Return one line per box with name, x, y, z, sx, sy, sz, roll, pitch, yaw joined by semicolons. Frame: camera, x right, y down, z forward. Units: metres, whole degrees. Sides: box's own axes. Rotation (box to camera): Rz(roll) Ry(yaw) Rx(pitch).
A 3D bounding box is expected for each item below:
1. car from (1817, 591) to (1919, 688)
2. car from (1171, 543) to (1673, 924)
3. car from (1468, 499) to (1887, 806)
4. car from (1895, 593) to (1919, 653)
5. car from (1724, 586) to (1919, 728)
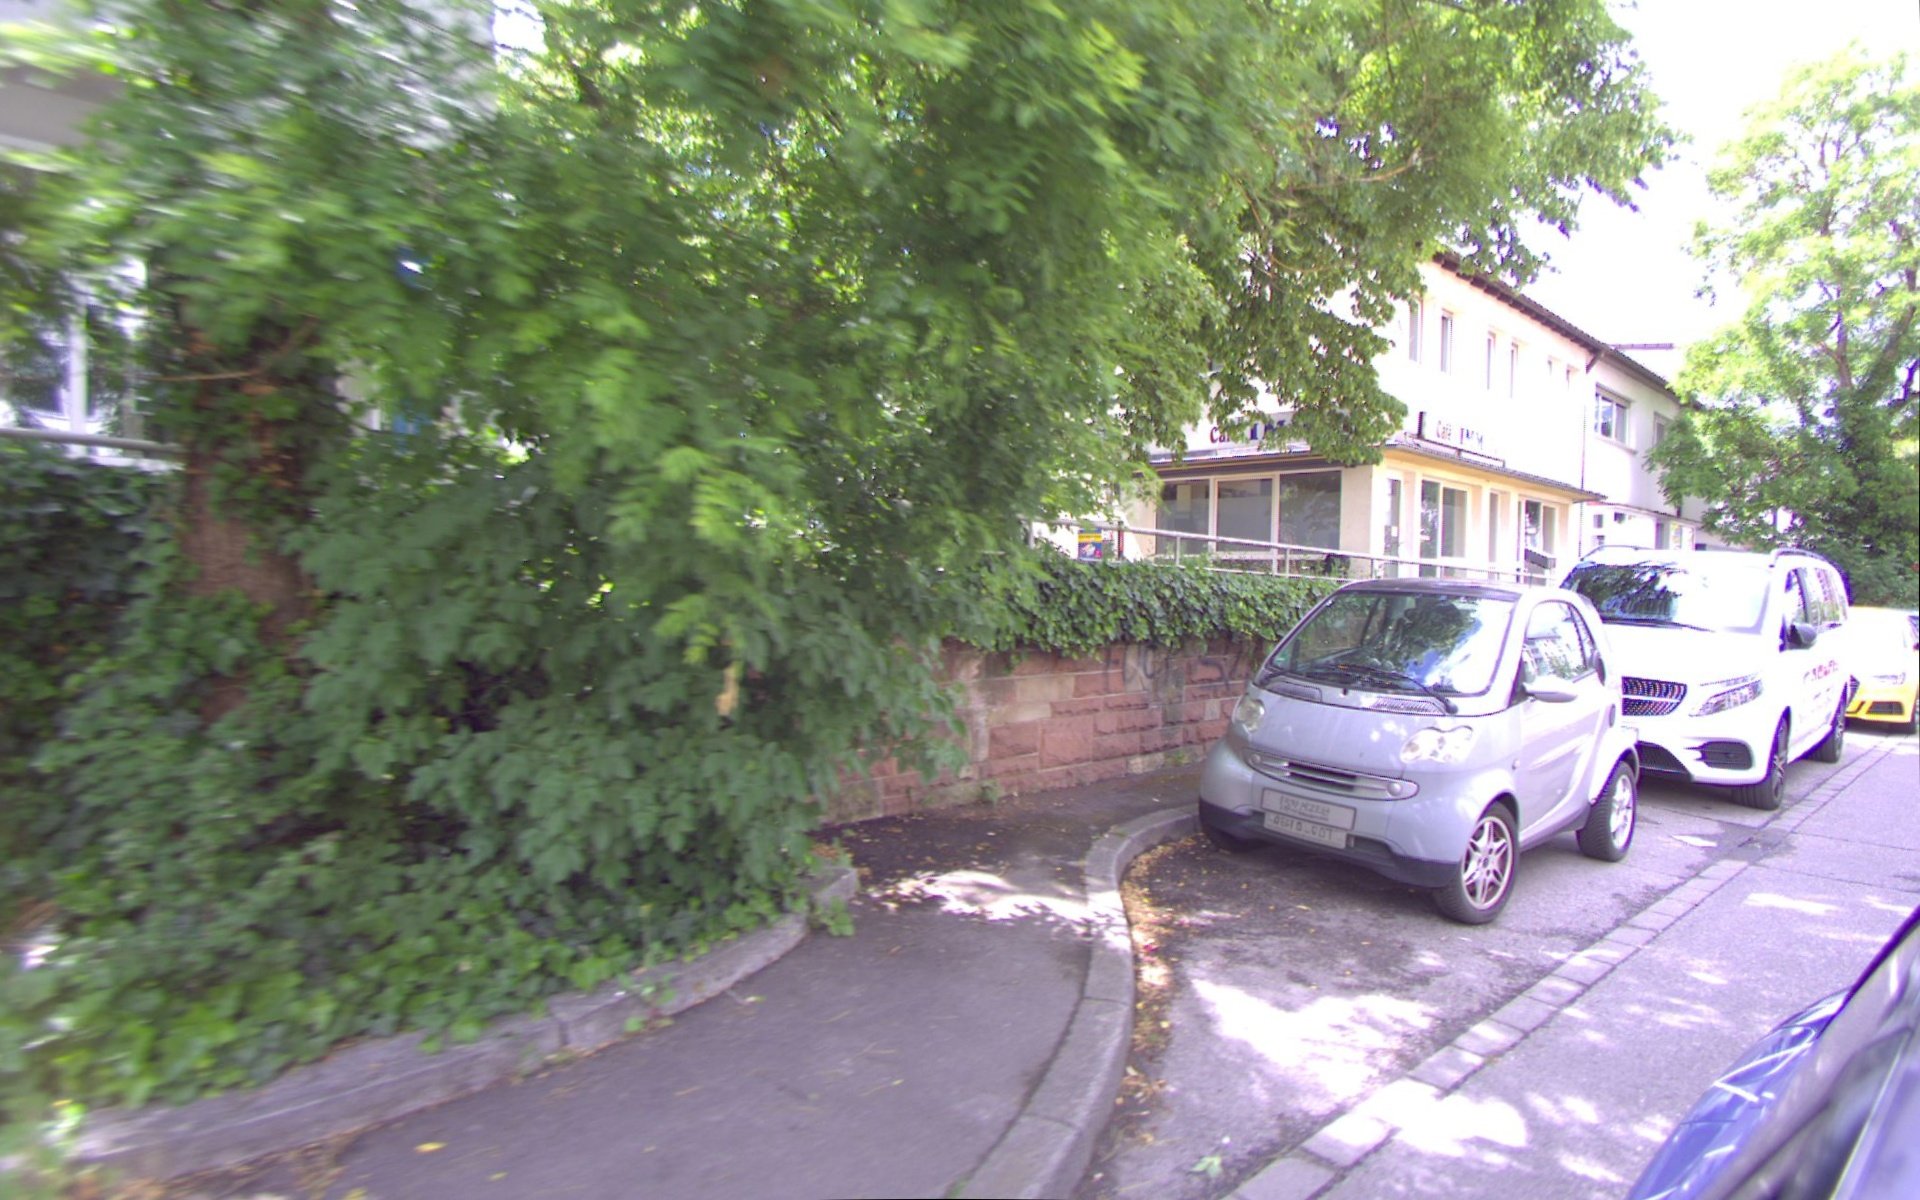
car;16.238;0.620;17.435;4.419;1.460;1.757;0;2;-44
car;2.672;0.521;5.670;2.798;1.552;1.516;0;3;-42
car;6.734;0.299;9.151;5.647;1.983;1.917;0;2;-43
car;26.829;0.627;27.461;4.172;1.524;1.836;0;2;-44
car;11.403;0.606;12.953;4.266;1.460;1.758;0;3;-42
